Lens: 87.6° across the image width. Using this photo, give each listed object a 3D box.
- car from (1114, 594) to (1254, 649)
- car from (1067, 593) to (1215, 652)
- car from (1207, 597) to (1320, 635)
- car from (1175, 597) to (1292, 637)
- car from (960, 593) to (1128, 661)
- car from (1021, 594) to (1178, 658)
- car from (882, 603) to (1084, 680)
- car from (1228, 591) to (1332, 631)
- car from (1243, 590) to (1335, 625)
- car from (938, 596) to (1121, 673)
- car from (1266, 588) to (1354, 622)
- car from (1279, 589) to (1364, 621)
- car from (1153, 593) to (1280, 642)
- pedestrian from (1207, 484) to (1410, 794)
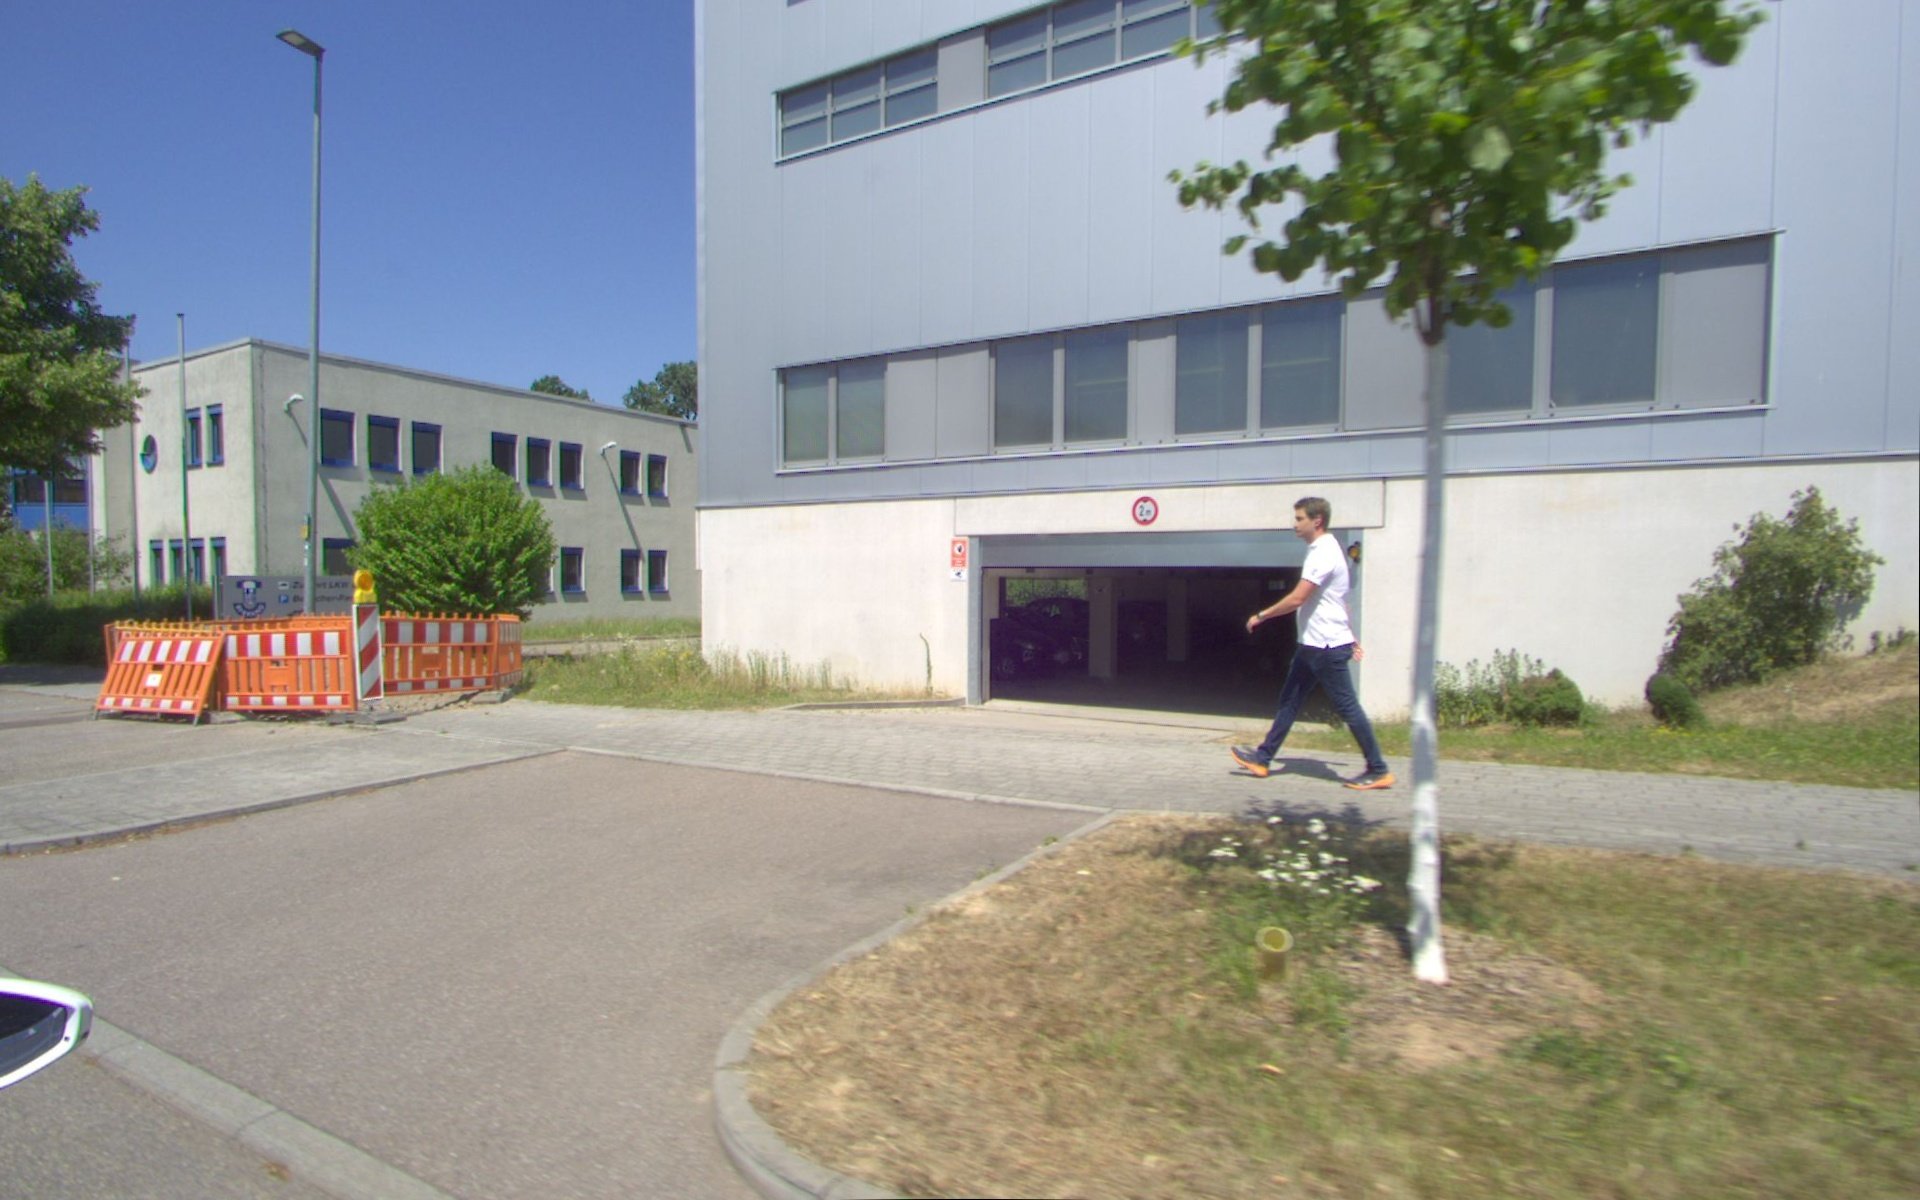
[{"bbox_3d":[7.050,0.640,31.682,3.943,1.430,1.697,4,3,34],"label":"car"},{"bbox_3d":[5.428,0.625,30.202,3.943,1.473,1.876,4,3,34],"label":"car"},{"bbox_3d":[11.941,0.617,39.435,3.945,1.429,1.698,-1,-1,34],"label":"car"},{"bbox_3d":[10.290,0.629,37.741,3.945,1.429,1.698,-1,-1,34],"label":"car"},{"bbox_3d":[2.169,0.647,26.265,3.943,1.473,1.876,4,3,34],"label":"car"},{"bbox_3d":[3.913,0.675,28.317,3.943,1.473,1.876,4,3,34],"label":"car"},{"bbox_3d":[0.454,0.845,21.376,3.945,1.497,1.877,-1,-1,34],"label":"car"},{"bbox_3d":[13.780,0.472,43.175,3.945,1.659,1.698,-1,0,34],"label":"car"},{"bbox_3d":[16.046,0.376,48.870,3.945,1.659,1.698,-1,0,34],"label":"car"},{"bbox_3d":[1.627,0.755,23.995,3.943,1.473,1.876,4,3,34],"label":"car"},{"bbox_3d":[17.669,0.273,50.592,3.945,1.659,1.698,-1,0,34],"label":"car"},{"bbox_3d":[19.086,0.284,52.928,3.945,1.659,1.698,-1,0,34],"label":"car"},{"bbox_3d":[8.967,0.562,35.164,3.943,1.430,1.697,4,3,34],"label":"car"},{"bbox_3d":[2.309,0.237,6.770,1.192,1.914,0.864,1,1,16],"label":"pedestrian"}]
